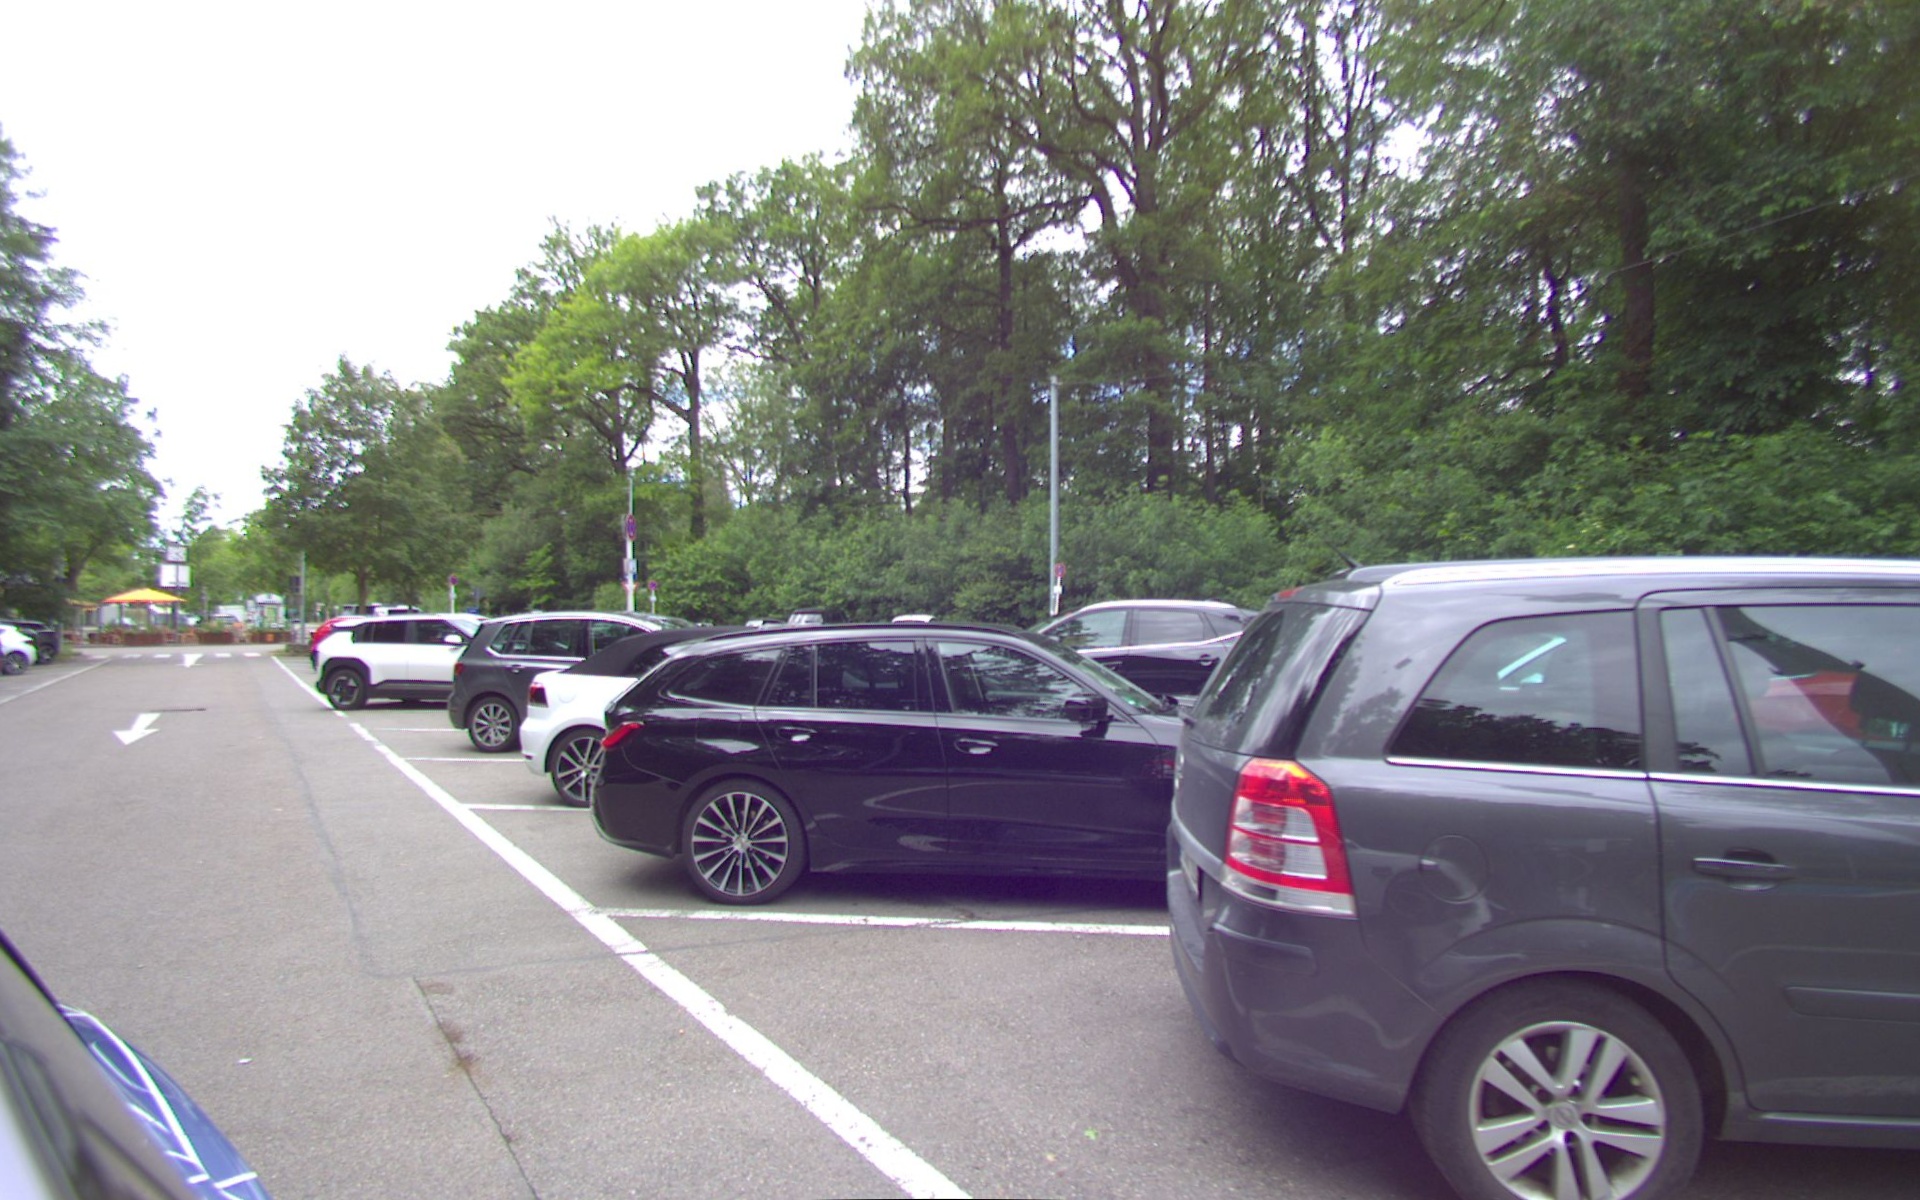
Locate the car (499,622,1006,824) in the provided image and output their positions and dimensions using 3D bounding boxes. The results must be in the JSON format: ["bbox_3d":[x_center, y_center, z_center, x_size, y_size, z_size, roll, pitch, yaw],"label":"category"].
[{"bbox_3d":[-1.603,0.922,8.478,3.802,1.454,1.768,-1,-1,9],"label":"car"}]

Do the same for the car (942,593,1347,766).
[{"bbox_3d":[1.878,0.801,10.992,3.952,1.676,1.895,0,-1,7],"label":"car"}]

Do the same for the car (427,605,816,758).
[{"bbox_3d":[-3.849,0.906,11.854,3.931,1.599,1.842,-1,-2,9],"label":"car"}]

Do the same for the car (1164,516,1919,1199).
[{"bbox_3d":[2.877,0.643,2.918,4.336,1.621,1.825,-1,-1,8],"label":"car"}]

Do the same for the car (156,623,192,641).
[{"bbox_3d":[-80.207,3.231,103.287,4.288,1.793,1.854,-1,-2,37],"label":"car"}]

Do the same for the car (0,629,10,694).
[{"bbox_3d":[-22.585,1.339,20.705,1.908,1.424,4.279,-1,-1,13],"label":"car"}]

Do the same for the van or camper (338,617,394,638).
[{"bbox_3d":[-85.063,3.914,144.977,2.186,2.871,7.295,-1,-1,18],"label":"van or camper"}]

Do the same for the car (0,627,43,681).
[{"bbox_3d":[-27.027,1.465,26.556,1.850,1.449,4.104,-1,-1,12],"label":"car"}]

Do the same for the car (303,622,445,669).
[{"bbox_3d":[-19.980,1.537,34.565,4.057,1.534,1.824,0,-1,12],"label":"car"}]

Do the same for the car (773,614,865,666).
[{"bbox_3d":[-5.106,1.438,37.323,2.088,1.780,4.695,-1,-1,9],"label":"car"}]

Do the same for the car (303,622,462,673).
[{"bbox_3d":[-17.902,1.457,31.467,3.951,1.495,1.873,0,-1,6],"label":"car"}]

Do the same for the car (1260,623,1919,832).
[{"bbox_3d":[4.762,0.891,8.002,4.342,1.405,1.764,0,-1,9],"label":"car"}]

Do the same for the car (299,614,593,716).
[{"bbox_3d":[-8.614,1.067,17.161,4.139,1.609,1.843,-1,-2,7],"label":"car"}]

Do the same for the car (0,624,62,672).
[{"bbox_3d":[-31.553,1.546,32.583,1.679,1.503,3.783,-1,-1,7],"label":"car"}]

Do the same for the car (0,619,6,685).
[{"bbox_3d":[-25.001,1.257,23.335,1.823,1.630,4.104,-1,-1,12],"label":"car"}]

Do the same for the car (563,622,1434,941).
[{"bbox_3d":[0.162,0.868,5.786,4.227,1.454,1.756,-1,-1,7],"label":"car"}]

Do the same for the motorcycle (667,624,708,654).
[{"bbox_3d":[-11.744,1.672,43.682,0.725,1.217,2.017,-1,-1,19],"label":"motorcycle"}]

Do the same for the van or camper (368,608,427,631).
[{"bbox_3d":[-70.142,2.408,126.426,2.048,2.871,7.308,0,-1,13],"label":"van or camper"}]

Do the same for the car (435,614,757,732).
[{"bbox_3d":[-5.082,1.009,14.522,3.946,1.566,1.872,0,-2,2],"label":"car"}]

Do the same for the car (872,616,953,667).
[{"bbox_3d":[-1.443,1.298,32.401,1.848,1.522,3.988,-1,-1,9],"label":"car"}]

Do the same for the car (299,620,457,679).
[{"bbox_3d":[-16.487,1.390,28.748,3.609,1.597,1.684,0,-1,6],"label":"car"}]

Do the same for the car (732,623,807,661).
[{"bbox_3d":[-7.493,1.639,40.180,1.720,1.386,3.989,0,-1,9],"label":"car"}]
